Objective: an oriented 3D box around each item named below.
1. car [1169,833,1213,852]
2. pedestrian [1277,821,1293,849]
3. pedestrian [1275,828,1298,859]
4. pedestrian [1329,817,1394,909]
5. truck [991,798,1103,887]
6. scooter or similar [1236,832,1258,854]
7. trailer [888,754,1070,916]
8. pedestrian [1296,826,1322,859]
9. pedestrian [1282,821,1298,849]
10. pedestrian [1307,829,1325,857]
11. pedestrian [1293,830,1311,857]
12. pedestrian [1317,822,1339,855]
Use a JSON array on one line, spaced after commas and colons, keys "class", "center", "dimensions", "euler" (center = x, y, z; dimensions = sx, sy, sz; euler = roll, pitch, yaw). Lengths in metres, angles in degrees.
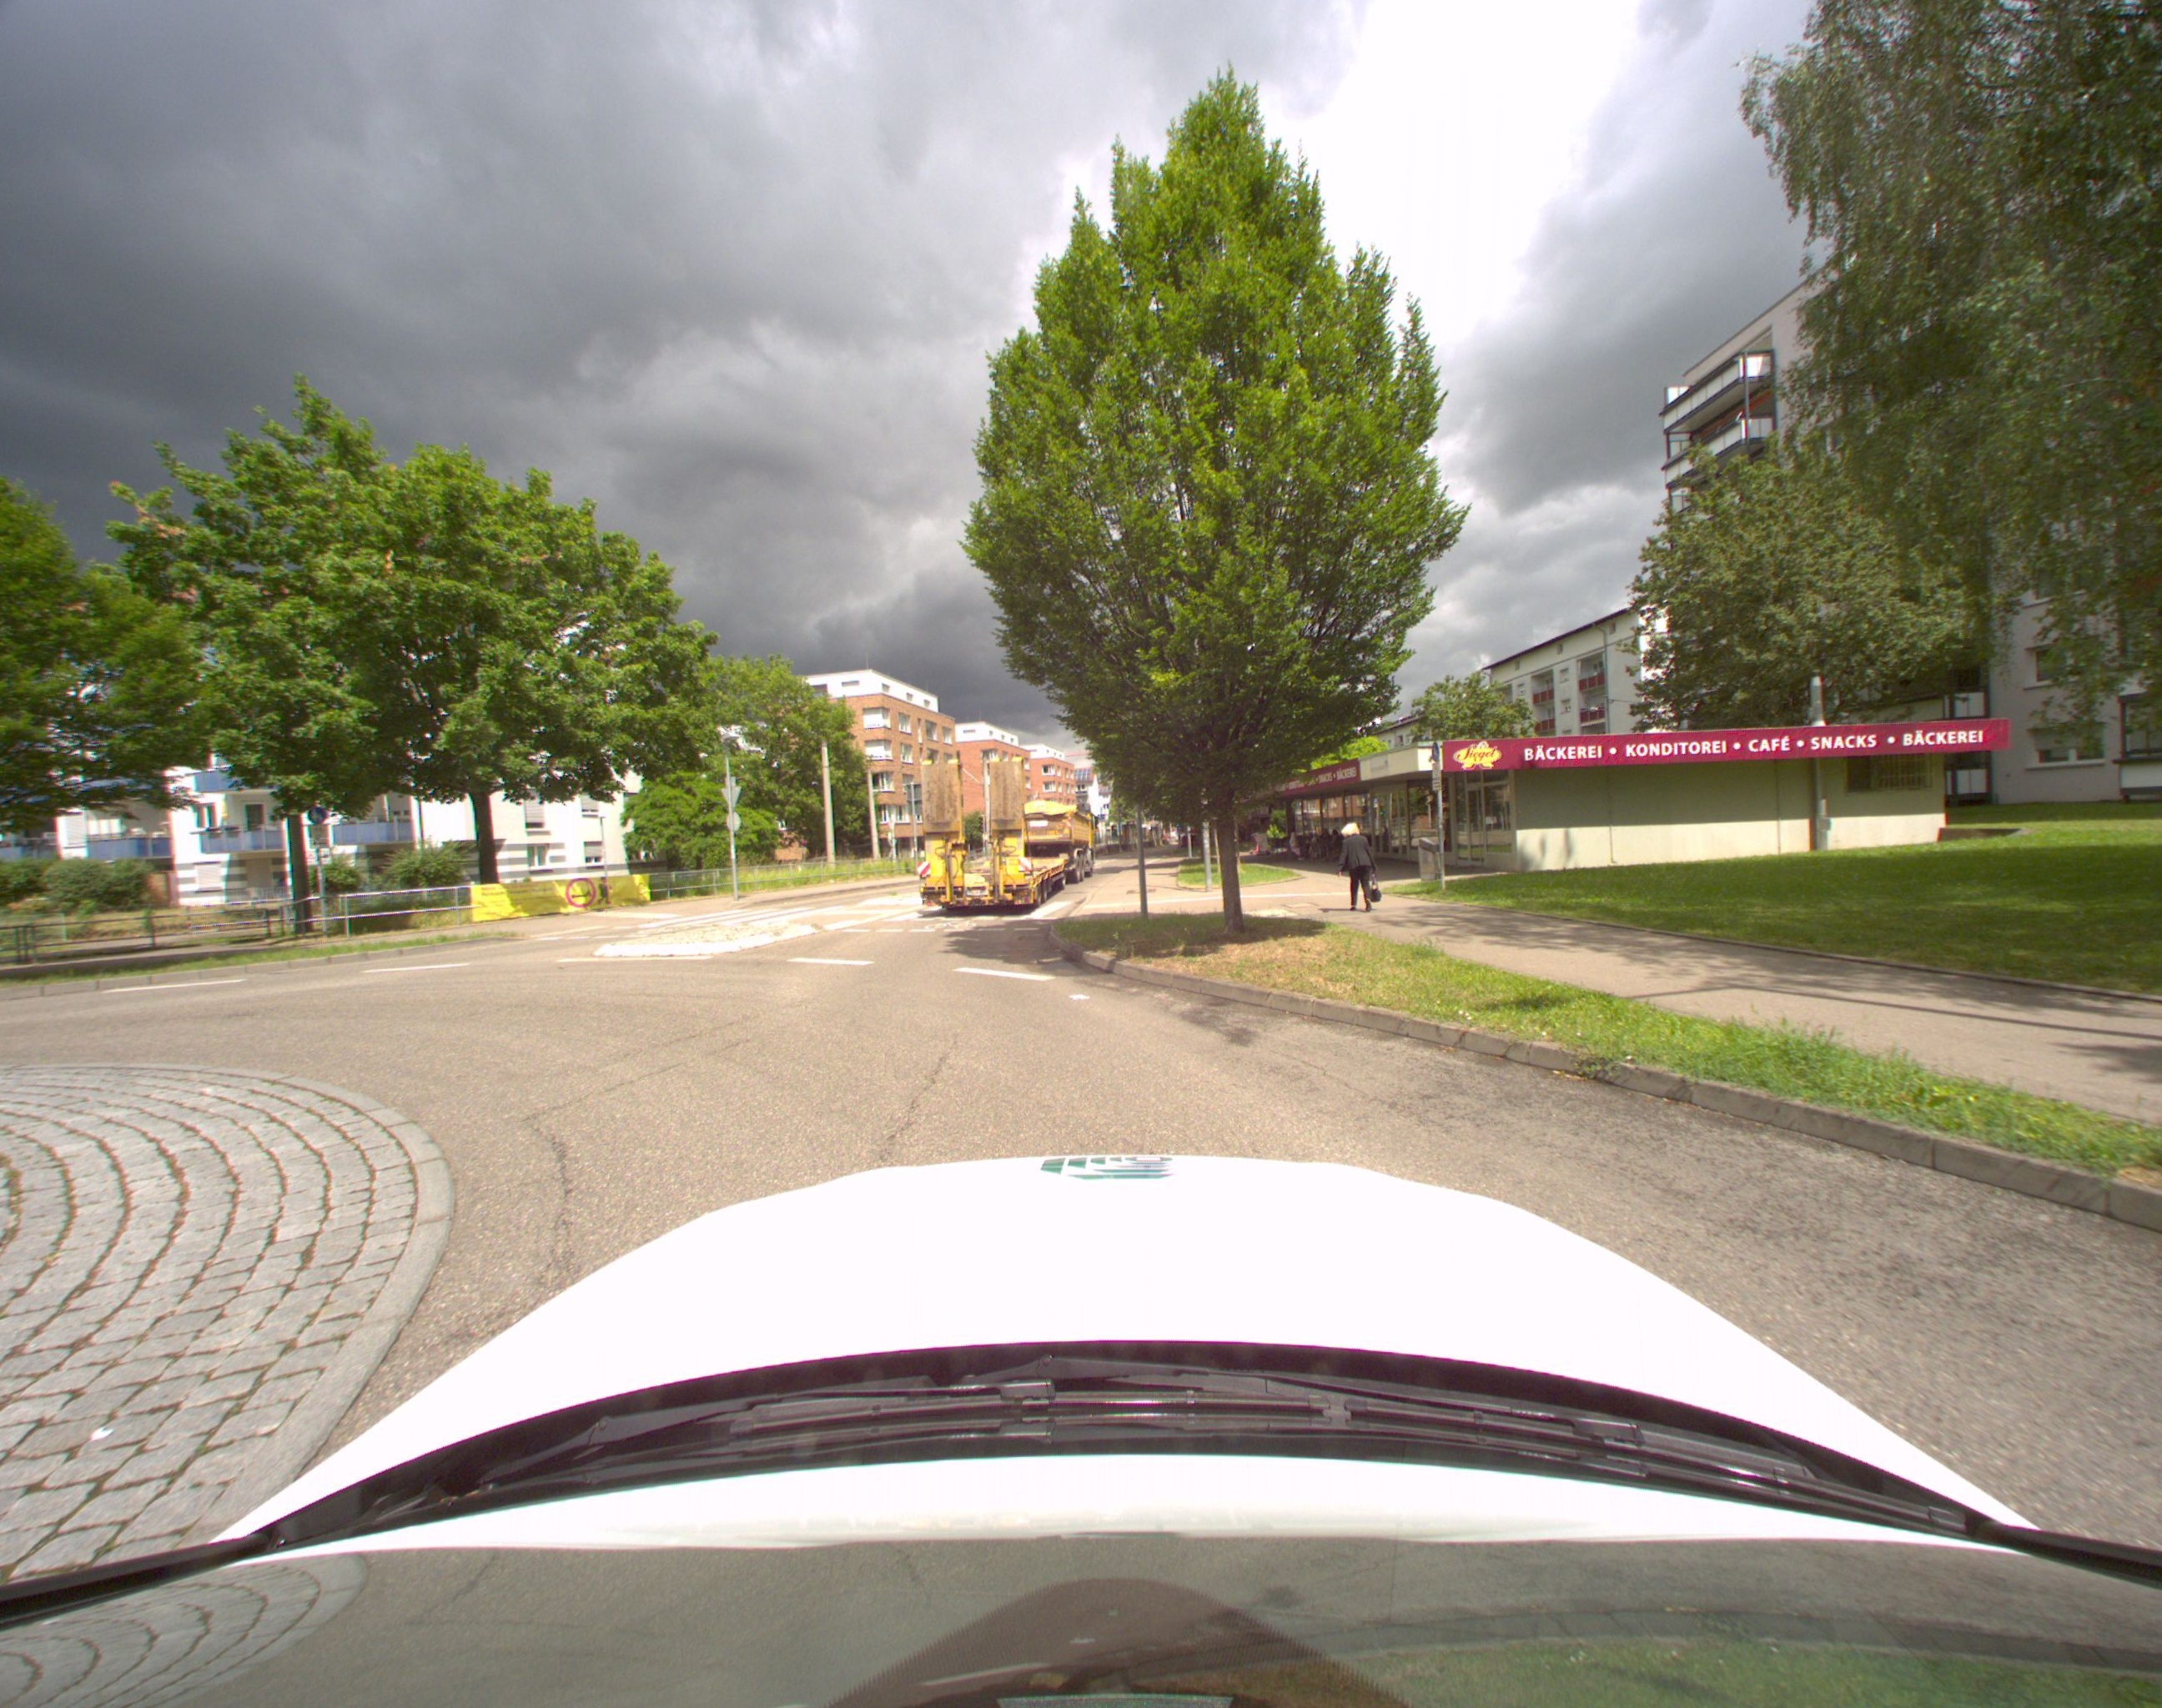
[{"class": "car", "center": [10.542, -1.079, 77.742], "dimensions": [3.960, 1.511, 2.007], "euler": [-2, 4, 11]}, {"class": "pedestrian", "center": [11.634, -1.071, 46.513], "dimensions": [0.693, 1.573, 0.558], "euler": [-4, 0, 3]}, {"class": "pedestrian", "center": [9.206, -0.458, 36.521], "dimensions": [0.872, 1.324, 0.612], "euler": [-4, 1, 8]}, {"class": "pedestrian", "center": [4.918, 0.149, 14.309], "dimensions": [0.867, 1.519, 0.805], "euler": [-3, 1, 6]}, {"class": "truck", "center": [-1.106, -0.609, 33.250], "dimensions": [2.971, 3.034, 8.507], "euler": [-2, 3, 8]}, {"class": "scooter or similar", "center": [10.179, -0.660, 49.813], "dimensions": [0.513, 1.226, 1.743], "euler": [-3, 3, 39]}, {"class": "trailer", "center": [-2.313, -0.494, 23.182], "dimensions": [2.851, 3.372, 10.854], "euler": [-3, 1, 4]}, {"class": "pedestrian", "center": [9.962, -0.514, 35.594], "dimensions": [0.875, 1.324, 0.823], "euler": [-4, 3, -1]}, {"class": "pedestrian", "center": [11.793, -1.063, 45.949], "dimensions": [0.693, 1.488, 0.558], "euler": [-4, 0, 3]}, {"class": "pedestrian", "center": [10.668, -0.518, 36.994], "dimensions": [0.713, 1.201, 0.701], "euler": [-4, 1, 13]}, {"class": "pedestrian", "center": [10.100, -0.491, 37.221], "dimensions": [0.713, 1.201, 0.701], "euler": [-4, 1, 13]}, {"class": "pedestrian", "center": [10.807, -0.672, 35.656], "dimensions": [0.714, 1.380, 0.700], "euler": [-4, 1, 6]}]
